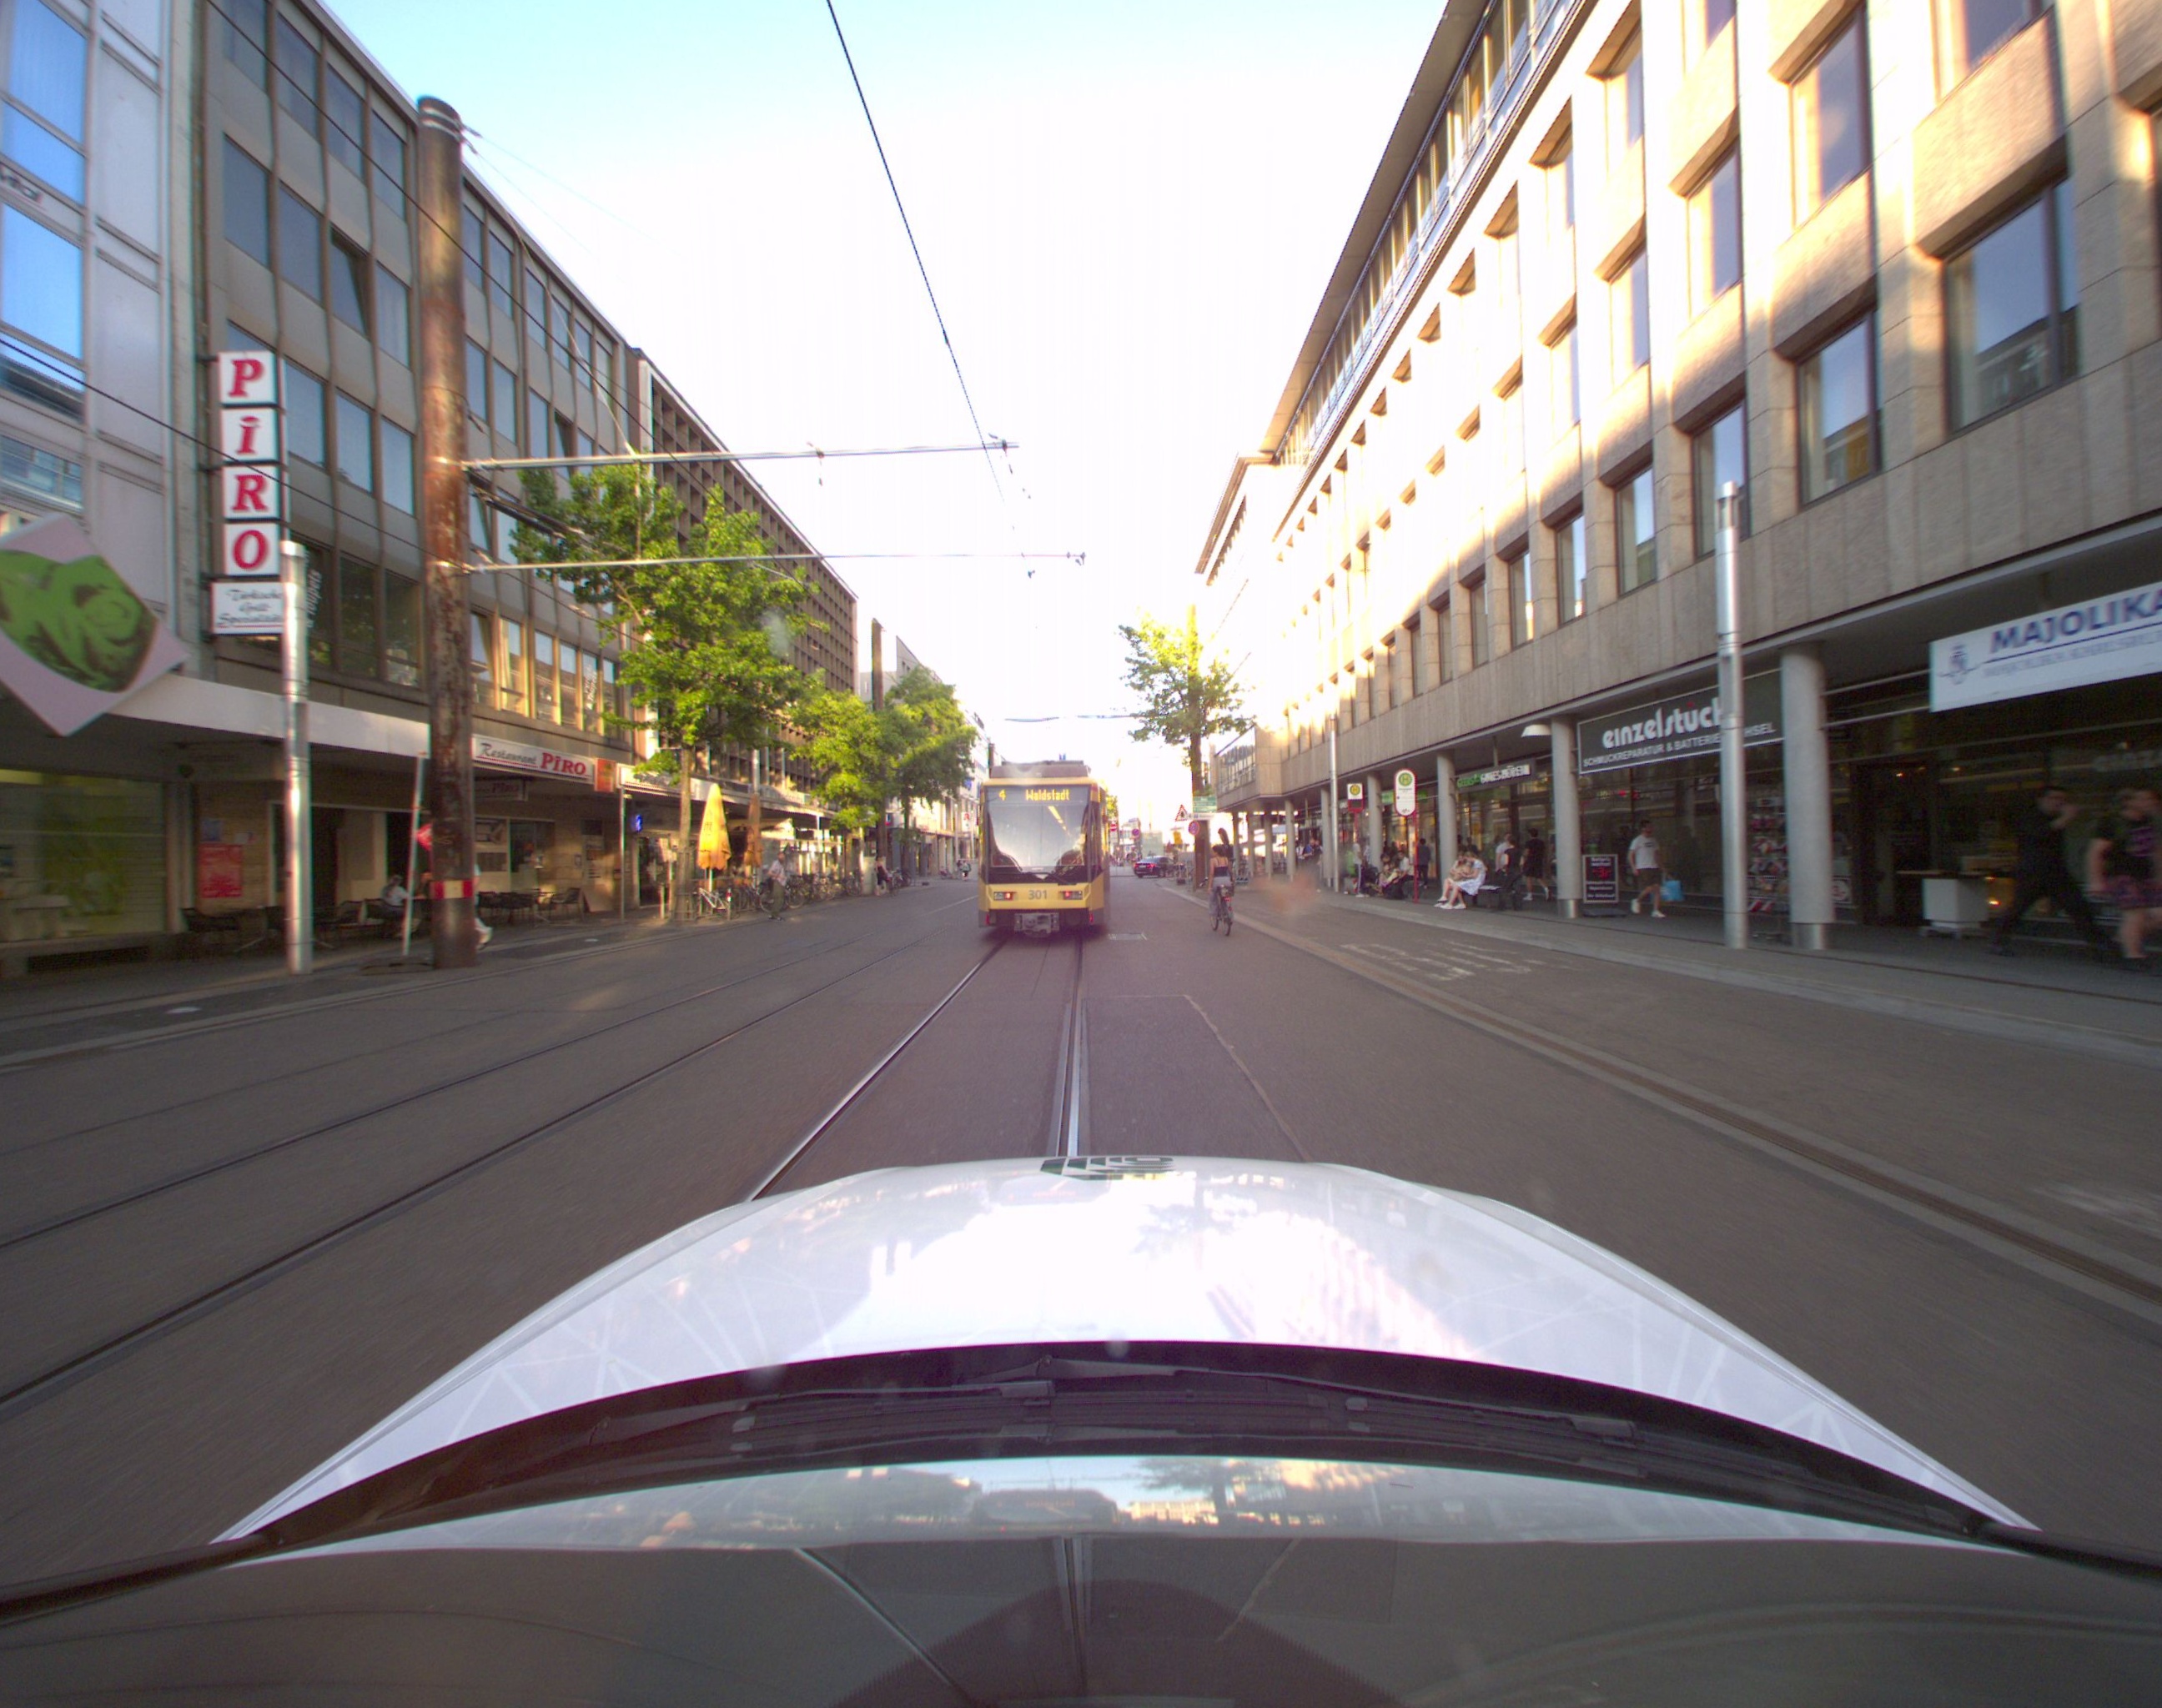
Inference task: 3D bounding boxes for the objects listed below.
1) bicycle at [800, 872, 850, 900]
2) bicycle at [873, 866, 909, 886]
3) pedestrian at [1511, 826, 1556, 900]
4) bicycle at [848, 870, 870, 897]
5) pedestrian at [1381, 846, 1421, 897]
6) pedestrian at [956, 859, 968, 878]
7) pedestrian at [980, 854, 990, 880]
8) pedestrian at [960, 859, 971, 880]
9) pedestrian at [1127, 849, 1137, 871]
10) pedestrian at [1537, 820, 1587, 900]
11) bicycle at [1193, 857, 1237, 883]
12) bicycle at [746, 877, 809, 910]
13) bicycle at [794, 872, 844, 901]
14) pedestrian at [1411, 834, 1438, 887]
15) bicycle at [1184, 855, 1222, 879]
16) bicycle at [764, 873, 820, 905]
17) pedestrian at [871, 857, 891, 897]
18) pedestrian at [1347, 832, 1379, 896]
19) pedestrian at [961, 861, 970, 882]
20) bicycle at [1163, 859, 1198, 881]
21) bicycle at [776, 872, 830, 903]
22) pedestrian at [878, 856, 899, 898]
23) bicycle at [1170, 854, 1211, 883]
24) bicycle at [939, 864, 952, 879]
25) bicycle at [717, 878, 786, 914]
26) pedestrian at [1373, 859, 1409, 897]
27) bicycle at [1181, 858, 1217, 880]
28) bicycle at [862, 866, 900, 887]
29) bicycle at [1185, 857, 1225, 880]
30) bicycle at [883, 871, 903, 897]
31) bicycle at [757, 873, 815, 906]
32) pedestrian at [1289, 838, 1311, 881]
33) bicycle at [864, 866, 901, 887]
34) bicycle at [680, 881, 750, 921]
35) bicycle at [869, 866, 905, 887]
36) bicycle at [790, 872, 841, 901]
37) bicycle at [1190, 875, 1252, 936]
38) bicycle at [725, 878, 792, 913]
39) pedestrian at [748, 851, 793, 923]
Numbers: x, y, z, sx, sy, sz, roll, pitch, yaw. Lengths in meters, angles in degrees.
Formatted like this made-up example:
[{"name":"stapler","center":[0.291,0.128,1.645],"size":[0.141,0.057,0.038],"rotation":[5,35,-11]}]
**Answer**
[{"name":"bicycle","center":[-9.994,1.234,31.795],"size":[1.769,1.071,0.488],"rotation":[0,0,-6]},{"name":"bicycle","center":[-10.111,1.178,43.305],"size":[1.766,1.045,0.489],"rotation":[0,0,0]},{"name":"pedestrian","center":[11.121,0.215,20.032],"size":[0.580,1.753,0.773],"rotation":[-3,-1,-1]},{"name":"bicycle","center":[-9.283,1.221,34.105],"size":[0.486,1.045,1.776],"rotation":[-1,0,-2]},{"name":"pedestrian","center":[8.745,0.476,22.279],"size":[0.810,1.381,0.662],"rotation":[-1,-1,2]},{"name":"pedestrian","center":[-9.195,1.133,63.150],"size":[0.548,1.434,0.689],"rotation":[-3,-2,38]},{"name":"pedestrian","center":[-7.333,0.994,62.187],"size":[0.772,1.926,0.707],"rotation":[-2,-1,-8]},{"name":"pedestrian","center":[-8.551,1.159,60.344],"size":[0.683,1.542,0.604],"rotation":[-2,-1,-5]},{"name":"pedestrian","center":[4.206,0.499,67.130],"size":[0.715,1.725,0.709],"rotation":[-2,-1,1]},{"name":"pedestrian","center":[11.780,0.144,19.967],"size":[0.685,1.883,0.773],"rotation":[-3,-1,-1]},{"name":"bicycle","center":[6.680,0.801,40.724],"size":[1.992,1.155,0.724],"rotation":[-4,0,-5]},{"name":"bicycle","center":[-9.538,1.231,25.608],"size":[1.769,0.990,0.488],"rotation":[0,1,-6]},{"name":"bicycle","center":[-10.011,1.228,31.143],"size":[1.769,1.071,0.488],"rotation":[0,0,-6]},{"name":"pedestrian","center":[11.554,0.216,27.427],"size":[0.568,1.731,0.617],"rotation":[-3,-1,-1]},{"name":"bicycle","center":[6.667,0.703,44.554],"size":[1.912,1.222,0.762],"rotation":[-4,0,-5]},{"name":"bicycle","center":[-9.972,1.200,28.137],"size":[1.769,1.071,0.488],"rotation":[0,0,-6]},{"name":"pedestrian","center":[-8.528,0.969,34.694],"size":[0.595,1.699,0.539],"rotation":[-1,0,29]},{"name":"pedestrian","center":[8.251,0.287,23.861],"size":[0.637,1.839,0.668],"rotation":[-3,-1,1]},{"name":"pedestrian","center":[-8.459,1.282,59.586],"size":[0.603,1.494,0.554],"rotation":[-2,-1,-8]},{"name":"bicycle","center":[5.602,0.895,46.000],"size":[1.848,1.109,0.666],"rotation":[-3,0,-3]},{"name":"bicycle","center":[-10.008,1.212,29.378],"size":[1.769,1.071,0.488],"rotation":[0,0,-6]},{"name":"pedestrian","center":[-8.067,0.957,34.145],"size":[0.595,1.699,0.539],"rotation":[-1,0,29]},{"name":"bicycle","center":[5.602,0.752,41.686],"size":[1.912,1.333,0.724],"rotation":[-4,0,-5]},{"name":"bicycle","center":[-10.743,1.413,64.548],"size":[0.496,1.107,1.803],"rotation":[-2,1,6]},{"name":"bicycle","center":[-9.557,1.213,23.668],"size":[1.769,0.990,0.488],"rotation":[0,1,-6]},{"name":"pedestrian","center":[8.807,0.673,23.178],"size":[0.810,1.042,0.544],"rotation":[-1,-1,2]},{"name":"bicycle","center":[6.683,0.836,46.174],"size":[1.848,1.109,0.666],"rotation":[-3,0,-3]},{"name":"bicycle","center":[-10.172,1.162,41.420],"size":[1.766,1.045,0.489],"rotation":[0,0,0]},{"name":"bicycle","center":[6.658,0.771,43.806],"size":[1.912,1.077,0.762],"rotation":[-4,0,-5]},{"name":"bicycle","center":[-7.914,1.246,34.296],"size":[0.486,1.045,1.776],"rotation":[-1,0,-2]},{"name":"bicycle","center":[-9.958,1.195,27.560],"size":[1.769,1.071,0.488],"rotation":[0,0,-6]},{"name":"pedestrian","center":[9.770,0.252,36.289],"size":[0.666,1.839,0.880],"rotation":[-3,-1,0]},{"name":"bicycle","center":[-10.166,1.164,41.663],"size":[1.766,1.045,0.489],"rotation":[0,0,0]},{"name":"bicycle","center":[-9.543,1.217,21.241],"size":[1.758,0.966,0.491],"rotation":[0,-1,17]},{"name":"bicycle","center":[-10.154,1.173,42.724],"size":[1.766,1.045,0.489],"rotation":[0,0,0]},{"name":"bicycle","center":[-9.962,1.223,30.598],"size":[1.769,1.071,0.488],"rotation":[0,0,-6]},{"name":"bicycle","center":[2.729,0.985,16.144],"size":[0.813,1.073,2.112],"rotation":[0,0,-2]},{"name":"bicycle","center":[-9.560,1.218,24.196],"size":[1.769,0.990,0.488],"rotation":[0,1,-6]},{"name":"pedestrian","center":[-8.002,0.832,20.992],"size":[0.826,1.792,0.979],"rotation":[-1,-1,-37]}]
